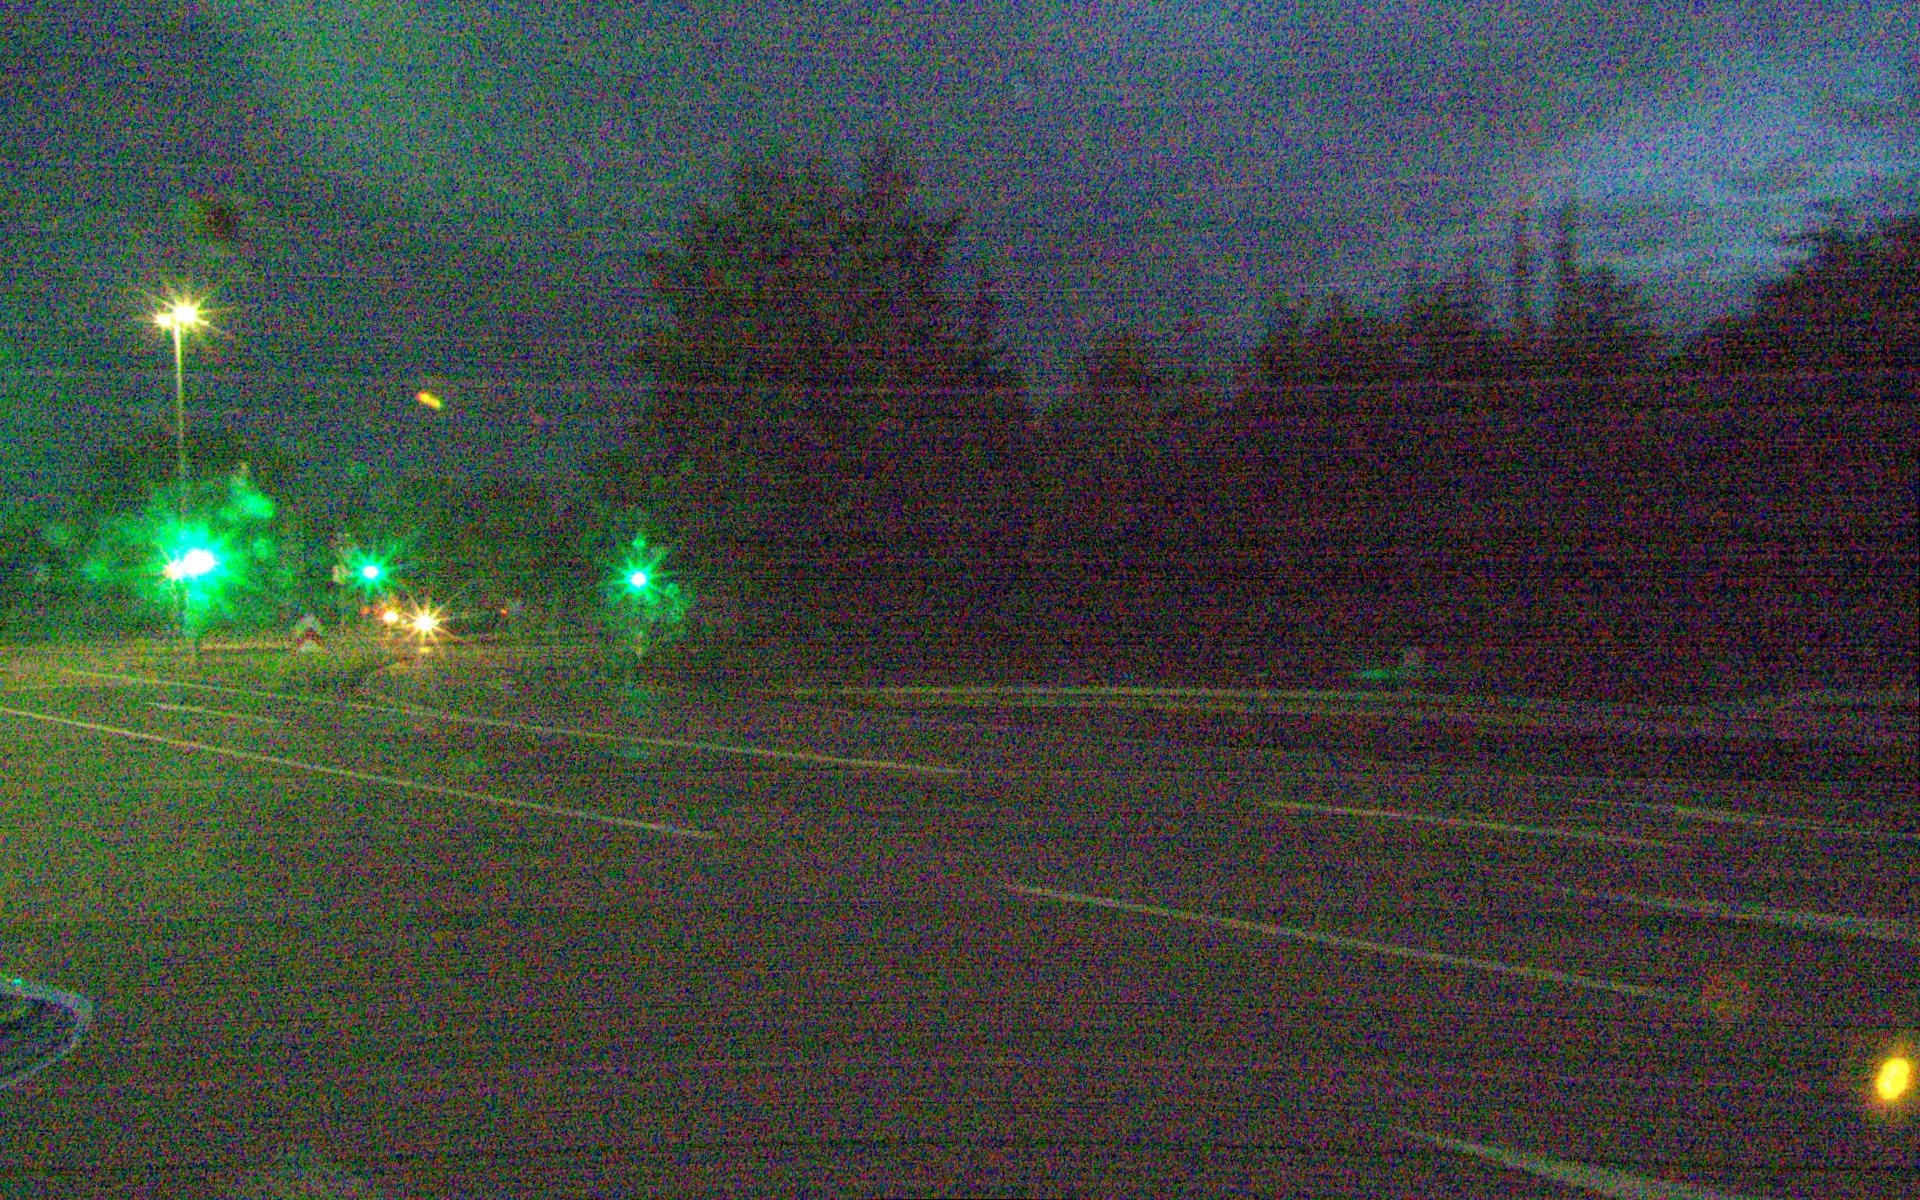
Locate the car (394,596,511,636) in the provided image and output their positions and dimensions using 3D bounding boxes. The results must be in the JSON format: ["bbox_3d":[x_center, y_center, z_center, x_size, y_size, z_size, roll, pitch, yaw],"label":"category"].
[{"bbox_3d":[-21.527,0.641,42.596,1.972,1.590,4.069,1,0,29],"label":"car"}]

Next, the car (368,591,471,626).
[{"bbox_3d":[-25.983,0.394,48.263,1.872,1.590,3.982,1,1,29],"label":"car"}]
